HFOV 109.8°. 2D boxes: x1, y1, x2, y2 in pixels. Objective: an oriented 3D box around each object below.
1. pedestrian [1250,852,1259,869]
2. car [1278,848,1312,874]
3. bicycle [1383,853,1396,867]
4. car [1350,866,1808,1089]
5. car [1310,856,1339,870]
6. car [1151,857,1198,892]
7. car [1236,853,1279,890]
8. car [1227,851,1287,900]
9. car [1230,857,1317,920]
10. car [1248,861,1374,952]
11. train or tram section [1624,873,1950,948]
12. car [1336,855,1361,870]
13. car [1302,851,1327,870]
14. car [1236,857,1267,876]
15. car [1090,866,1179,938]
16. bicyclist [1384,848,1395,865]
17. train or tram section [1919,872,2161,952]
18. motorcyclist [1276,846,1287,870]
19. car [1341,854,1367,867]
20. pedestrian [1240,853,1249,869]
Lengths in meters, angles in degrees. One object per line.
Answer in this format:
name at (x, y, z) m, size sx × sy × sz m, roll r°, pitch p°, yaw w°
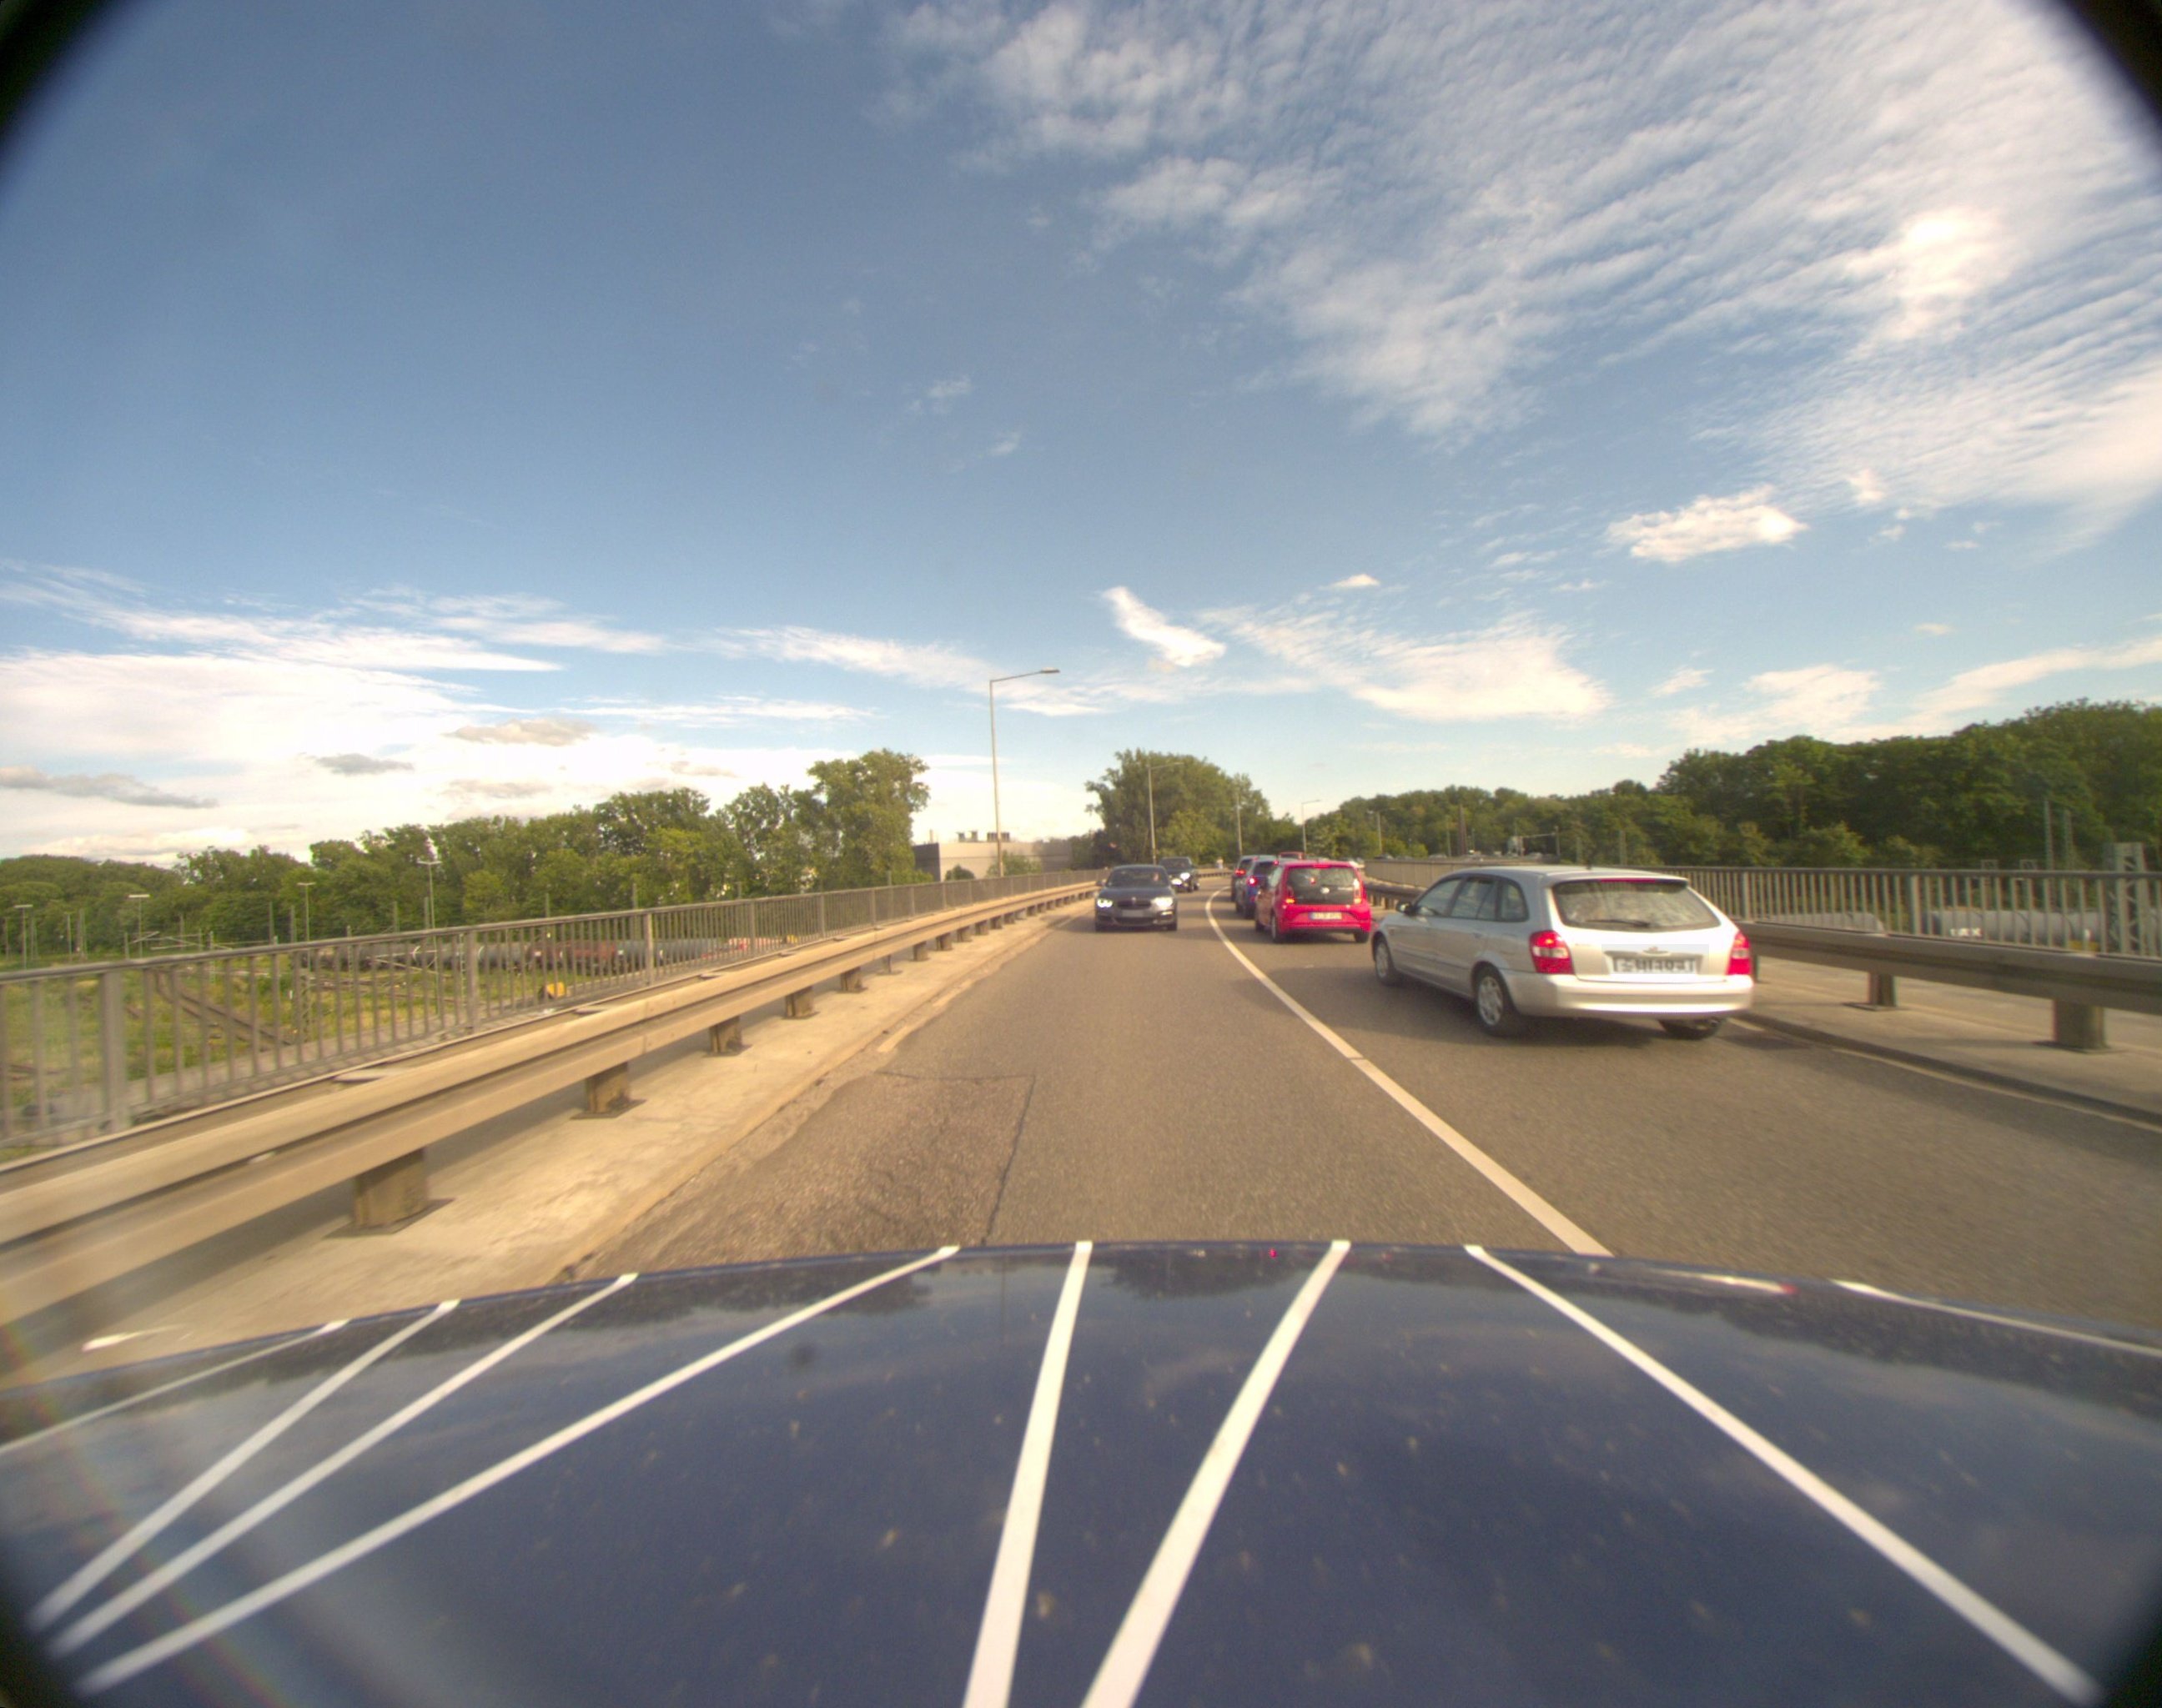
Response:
pedestrian at (17.483, 0.652, 76.567) m, size 0.677 × 1.652 × 0.867 m, roll -1°, pitch 1°, yaw 28°
car at (16.166, 0.522, 57.226) m, size 2.009 × 1.892 × 4.875 m, roll -1°, pitch 0°, yaw 21°
bicycle at (30.109, 0.610, 74.137) m, size 0.764 × 1.324 × 1.920 m, roll -1°, pitch 1°, yaw 33°
car at (4.136, 0.879, 7.300) m, size 1.736 × 1.447 × 4.266 m, roll -1°, pitch 0°, yaw 2°
car at (27.010, 0.996, 84.198) m, size 1.815 × 1.498 × 4.400 m, roll -1°, pitch 0°, yaw 34°
car at (4.466, 0.936, 35.671) m, size 1.817 × 1.498 × 4.395 m, roll -1°, pitch 0°, yaw 12°
car at (8.374, 0.795, 35.849) m, size 1.683 × 1.639 × 4.303 m, roll -1°, pitch 0°, yaw 17°
car at (6.351, 0.718, 27.759) m, size 1.928 × 1.639 × 4.592 m, roll -1°, pitch 0°, yaw 11°
car at (5.018, 0.844, 20.297) m, size 1.802 × 1.511 × 4.010 m, roll -1°, pitch 0°, yaw 8°
car at (4.227, 0.897, 14.494) m, size 1.602 × 1.456 × 3.738 m, roll -1°, pitch 0°, yaw 6°
train or tram section at (48.540, 3.819, 53.268) m, size 16.710 × 4.685 × 3.101 m, roll -1°, pitch 1°, yaw 22°
car at (27.814, 0.906, 78.942) m, size 1.741 × 1.492 × 4.085 m, roll -1°, pitch 0°, yaw 31°
car at (20.376, 0.581, 66.192) m, size 1.754 × 1.600 × 4.320 m, roll -1°, pitch 0°, yaw 22°
car at (13.978, 1.003, 62.004) m, size 1.816 × 1.396 × 4.398 m, roll -1°, pitch 0°, yaw 21°
car at (1.329, 1.007, 17.413) m, size 1.785 × 1.396 × 3.973 m, roll -1°, pitch 0°, yaw 7°
bicyclist at (30.059, 0.259, 74.097) m, size 0.767 × 1.651 × 1.122 m, roll -1°, pitch 1°, yaw 32°
train or tram section at (64.068, 3.516, 47.037) m, size 16.710 × 4.685 × 3.101 m, roll -1°, pitch 1°, yaw 22°
motorcyclist at (13.396, 0.268, 50.818) m, size 0.621 × 1.544 × 0.939 m, roll -1°, pitch 0°, yaw 21°
car at (33.645, 0.816, 93.548) m, size 1.815 × 1.498 × 4.400 m, roll -1°, pitch 0°, yaw 35°
pedestrian at (16.369, 0.676, 75.972) m, size 0.677 × 1.534 × 0.962 m, roll -1°, pitch 1°, yaw 28°
